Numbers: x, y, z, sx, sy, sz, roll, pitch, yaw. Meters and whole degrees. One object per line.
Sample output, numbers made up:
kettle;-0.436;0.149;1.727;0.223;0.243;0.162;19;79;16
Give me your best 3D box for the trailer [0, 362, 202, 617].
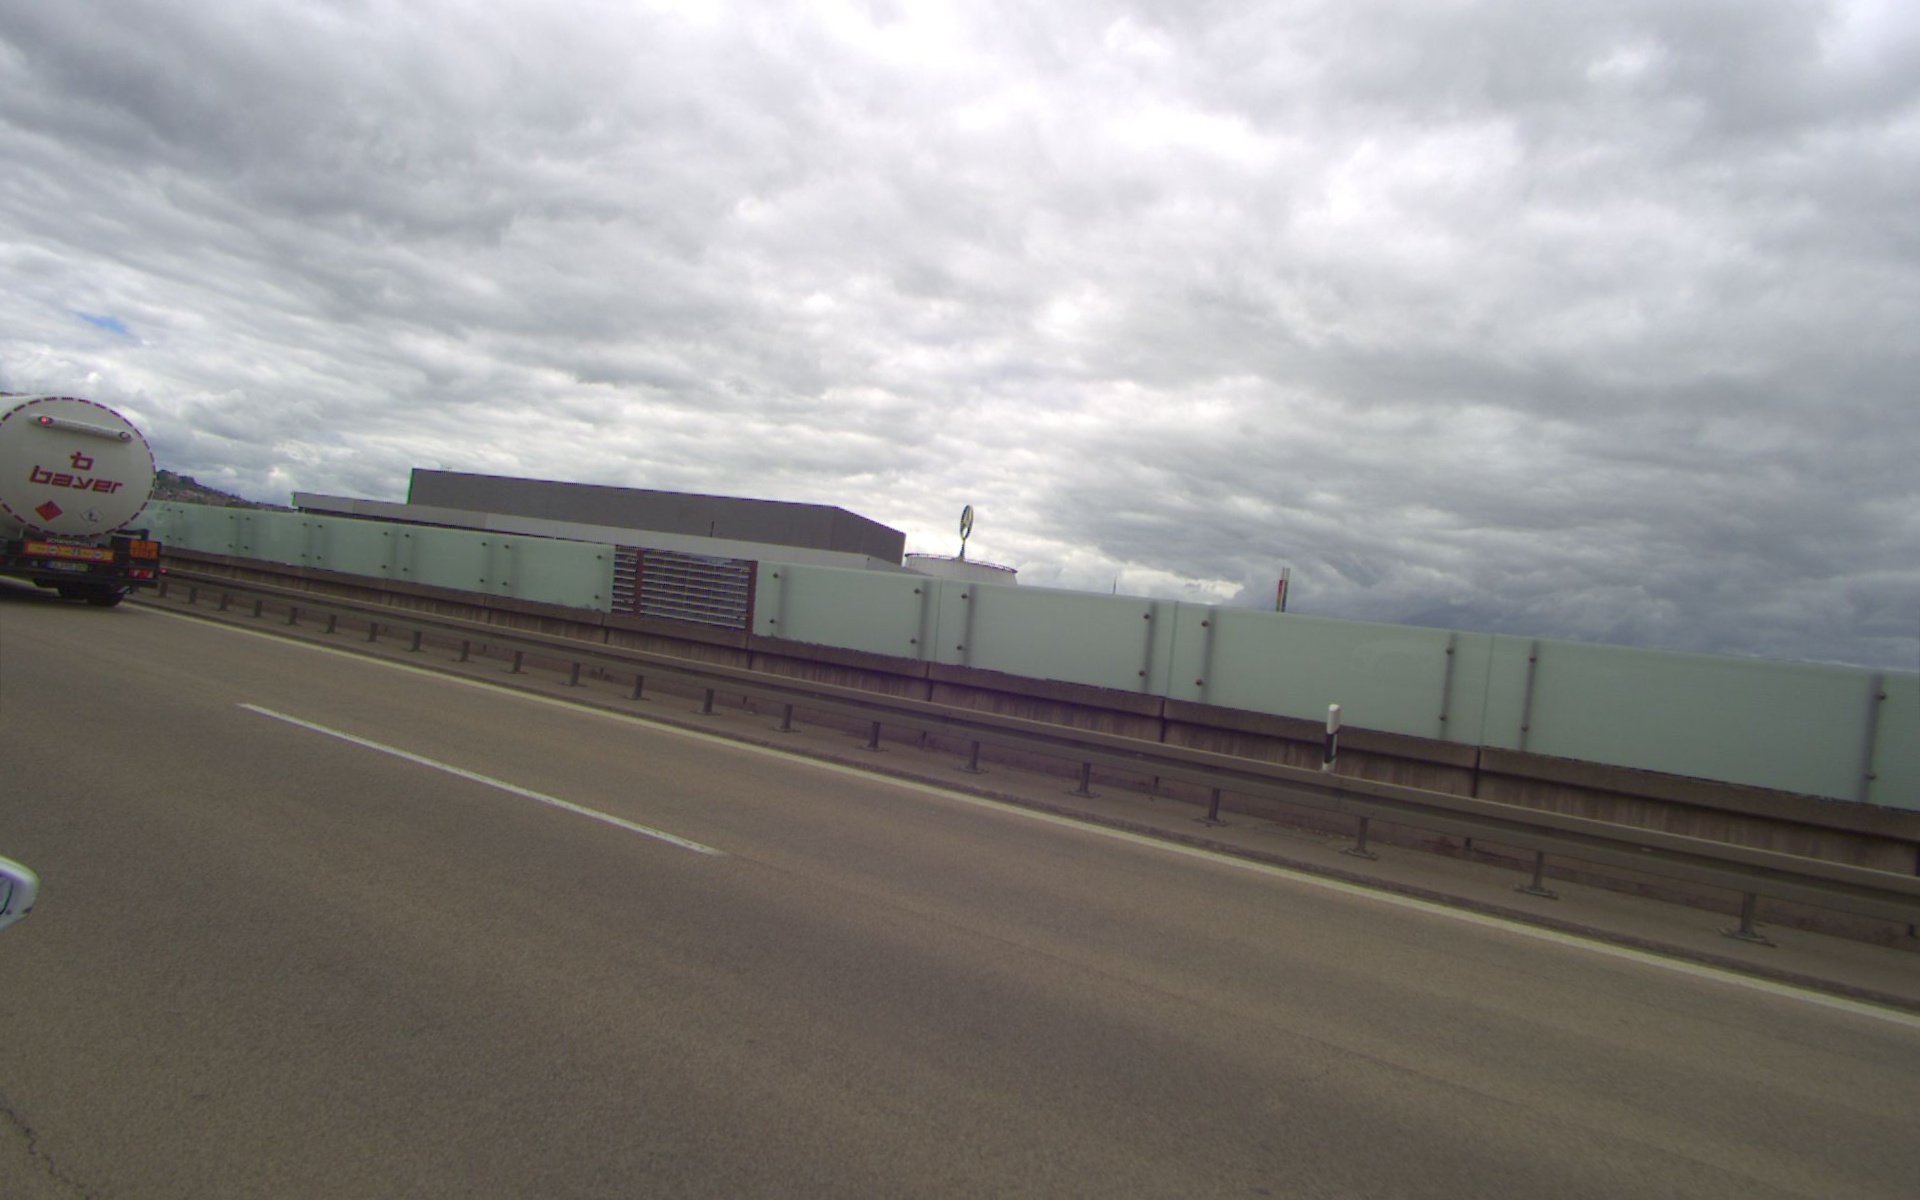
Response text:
trailer;-18.538;-2.106;18.829;11.032;3.584;2.656;6;-2;31
